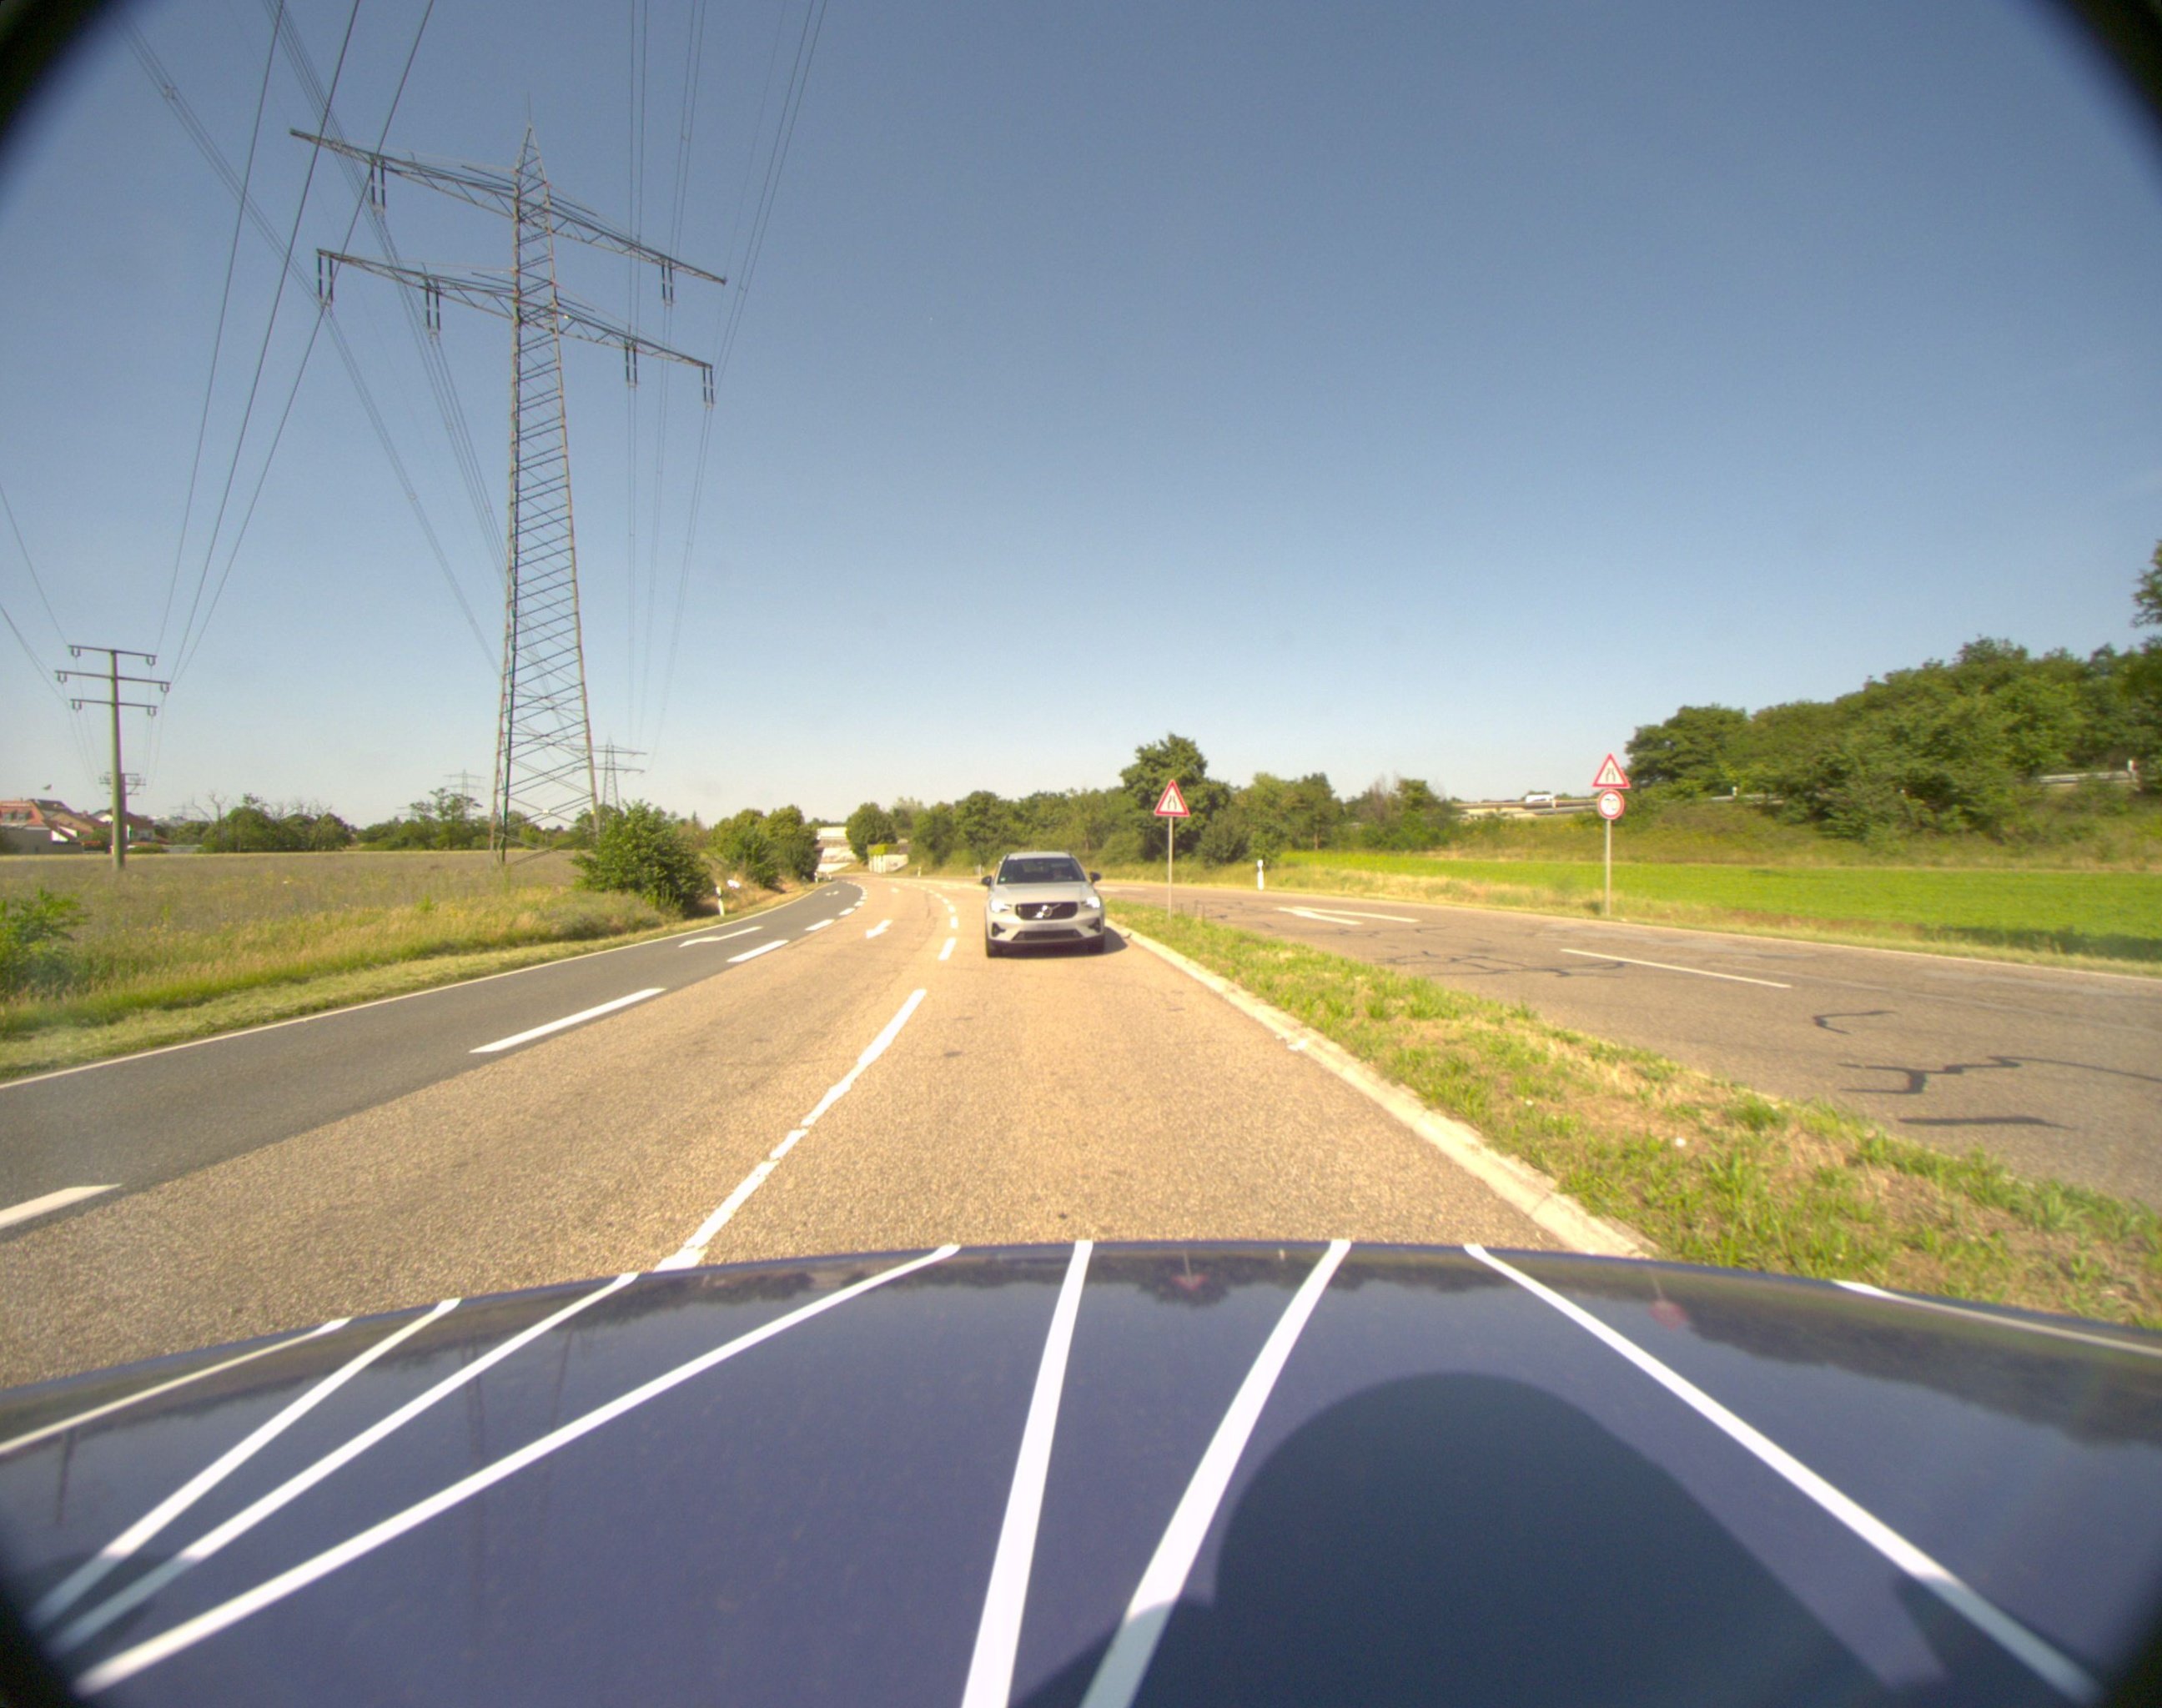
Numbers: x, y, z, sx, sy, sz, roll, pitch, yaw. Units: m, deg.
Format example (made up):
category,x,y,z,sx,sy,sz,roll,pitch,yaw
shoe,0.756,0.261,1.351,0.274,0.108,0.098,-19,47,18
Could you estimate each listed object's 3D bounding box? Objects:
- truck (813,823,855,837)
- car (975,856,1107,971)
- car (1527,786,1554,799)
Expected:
category,x,y,z,sx,sy,sz,roll,pitch,yaw
truck,-61.776,-5.915,190.271,10.135,3.011,2.379,-2,1,15
car,-0.554,0.876,12.870,1.859,1.609,3.647,-2,0,1
car,104.303,-14.010,172.434,2.276,2.506,4.678,-3,1,-33
